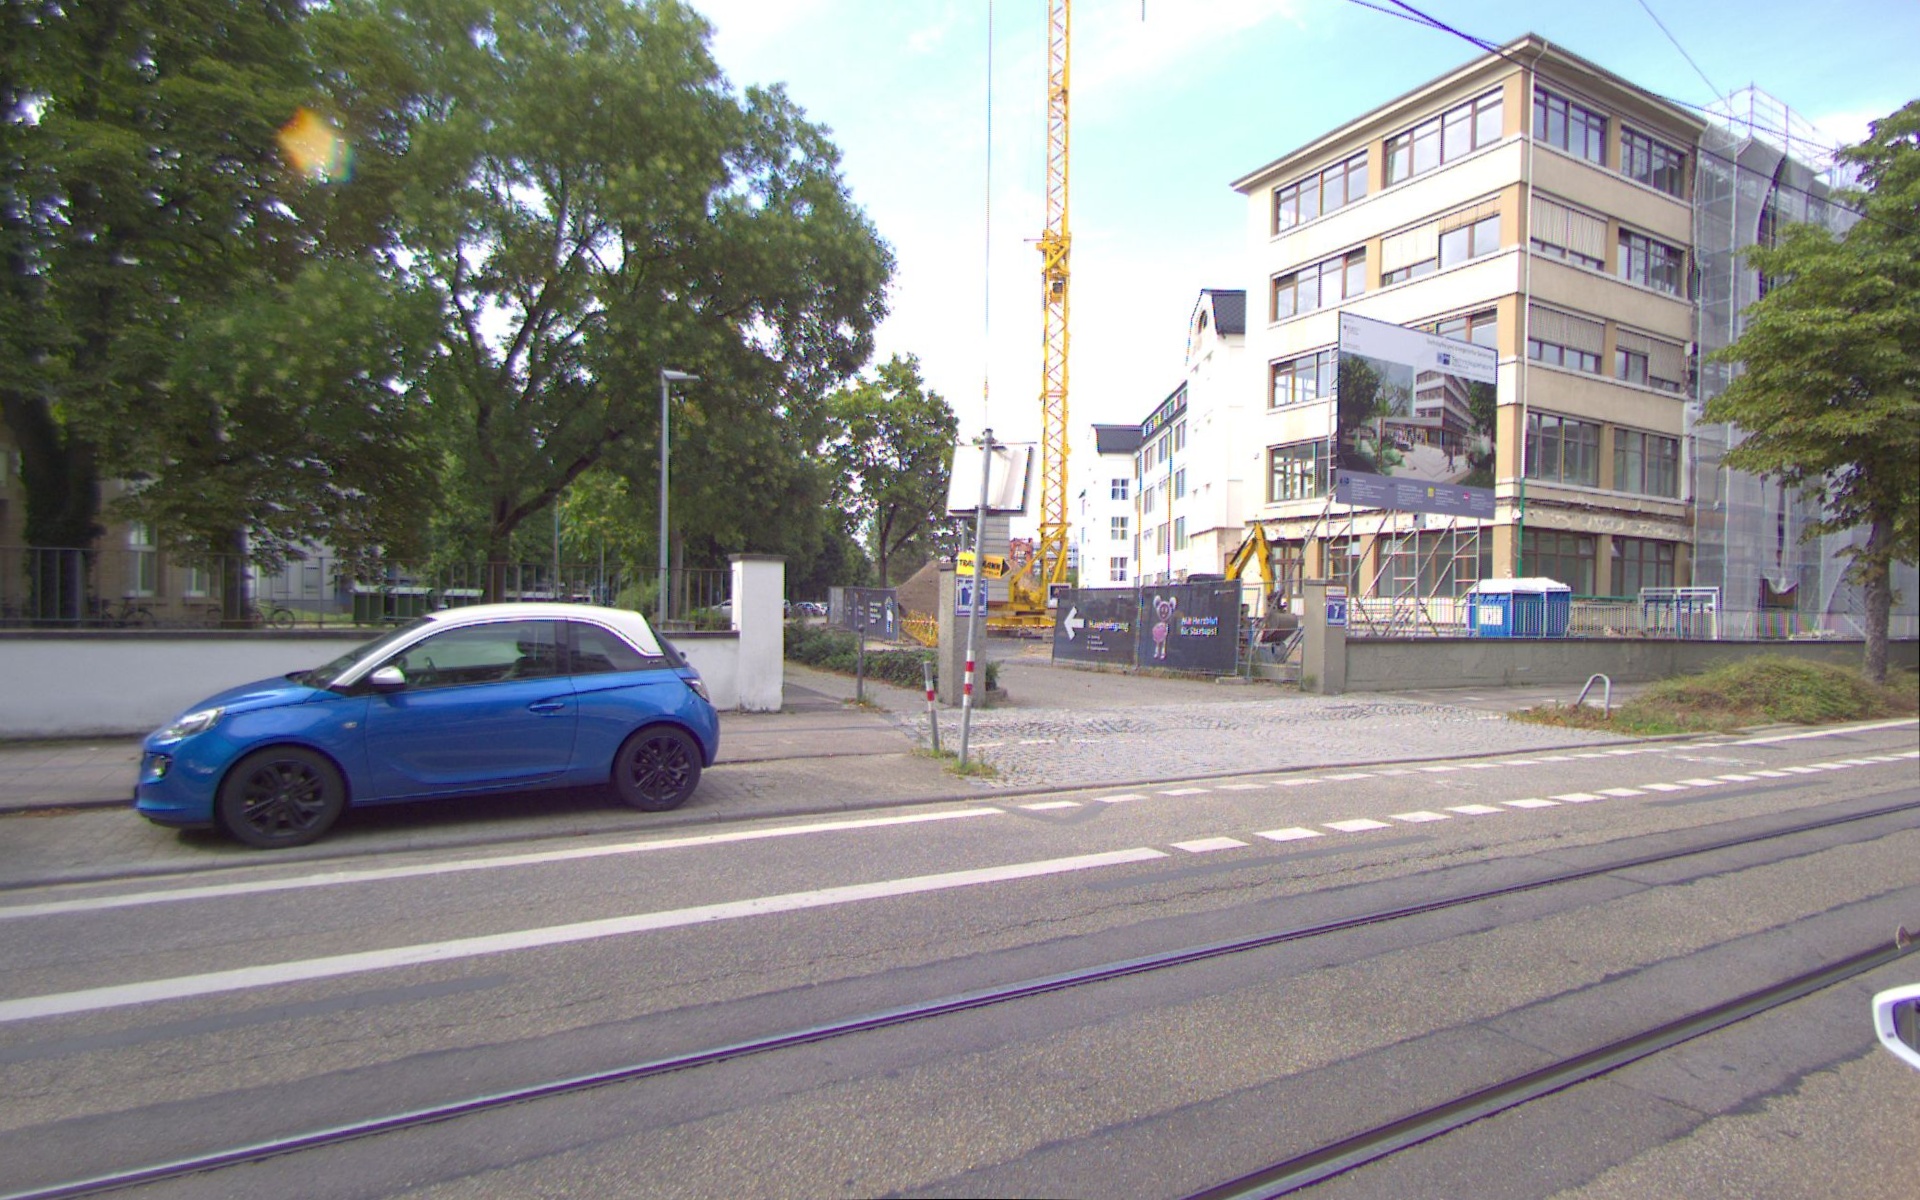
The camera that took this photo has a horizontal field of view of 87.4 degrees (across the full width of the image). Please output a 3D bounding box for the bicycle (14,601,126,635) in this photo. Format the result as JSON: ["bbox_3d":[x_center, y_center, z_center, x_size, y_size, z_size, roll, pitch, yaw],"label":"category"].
[{"bbox_3d":[-22.148,0.444,25.035,2.010,0.783,0.713,1,1,-10],"label":"bicycle"}]

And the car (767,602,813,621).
[{"bbox_3d":[-14.991,0.998,88.550,3.927,1.518,1.911,1,0,-9],"label":"car"}]

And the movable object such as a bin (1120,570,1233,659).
[{"bbox_3d":[5.398,0.354,25.159,1.935,2.095,1.979,1,0,-27],"label":"movable object such as a bin"}]

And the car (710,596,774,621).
[{"bbox_3d":[-13.959,0.567,64.512,3.927,1.518,1.911,1,0,-9],"label":"car"}]

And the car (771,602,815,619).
[{"bbox_3d":[-15.291,0.950,92.255,3.927,1.518,1.911,1,0,-9],"label":"car"}]

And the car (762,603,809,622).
[{"bbox_3d":[-14.861,1.032,85.747,3.927,1.518,1.911,1,0,-9],"label":"car"}]

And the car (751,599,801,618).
[{"bbox_3d":[-15.067,0.703,82.311,3.927,1.518,1.911,1,0,-9],"label":"car"}]

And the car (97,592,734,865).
[{"bbox_3d":[-3.677,0.751,7.285,3.634,1.507,1.685,1,1,-30],"label":"car"}]

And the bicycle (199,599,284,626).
[{"bbox_3d":[-22.176,0.377,31.015,2.010,0.783,0.713,1,1,-10],"label":"bicycle"}]

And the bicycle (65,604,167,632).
[{"bbox_3d":[-22.466,0.481,26.784,2.028,0.718,0.707,1,1,-37],"label":"bicycle"}]

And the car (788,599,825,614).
[{"bbox_3d":[-16.541,0.730,108.403,3.927,1.518,1.911,1,0,-9],"label":"car"}]

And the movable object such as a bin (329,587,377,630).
[{"bbox_3d":[-20.150,0.272,33.358,1.001,1.393,0.970,1,1,-3],"label":"movable object such as a bin"}]

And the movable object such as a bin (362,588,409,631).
[{"bbox_3d":[-19.081,0.296,33.391,1.001,1.393,0.970,1,1,-3],"label":"movable object such as a bin"}]

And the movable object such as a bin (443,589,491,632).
[{"bbox_3d":[-16.439,0.356,33.518,1.180,1.393,0.861,1,1,-3],"label":"movable object such as a bin"}]

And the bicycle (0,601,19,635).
[{"bbox_3d":[-21.882,0.380,21.825,2.010,0.718,0.713,1,1,-10],"label":"bicycle"}]

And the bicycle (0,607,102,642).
[{"bbox_3d":[-21.960,0.575,24.095,2.010,0.783,0.713,1,1,-10],"label":"bicycle"}]

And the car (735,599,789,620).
[{"bbox_3d":[-14.910,0.721,75.883,3.927,1.518,1.911,1,0,-9],"label":"car"}]

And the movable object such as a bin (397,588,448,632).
[{"bbox_3d":[-17.859,0.324,33.391,1.180,1.393,0.970,1,1,-3],"label":"movable object such as a bin"}]

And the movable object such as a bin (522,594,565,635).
[{"bbox_3d":[-13.783,0.472,33.245,1.073,1.290,0.861,1,1,-3],"label":"movable object such as a bin"}]

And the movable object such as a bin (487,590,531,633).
[{"bbox_3d":[-15.018,0.389,33.467,1.073,1.393,0.861,1,1,-3],"label":"movable object such as a bin"}]

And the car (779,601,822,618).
[{"bbox_3d":[-15.089,0.917,94.921,3.927,1.518,1.911,1,0,-9],"label":"car"}]

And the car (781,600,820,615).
[{"bbox_3d":[-16.561,0.771,104.286,3.927,1.518,1.911,1,0,-9],"label":"car"}]

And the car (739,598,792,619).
[{"bbox_3d":[-15.301,0.651,79.168,3.927,1.518,1.911,1,0,-9],"label":"car"}]
